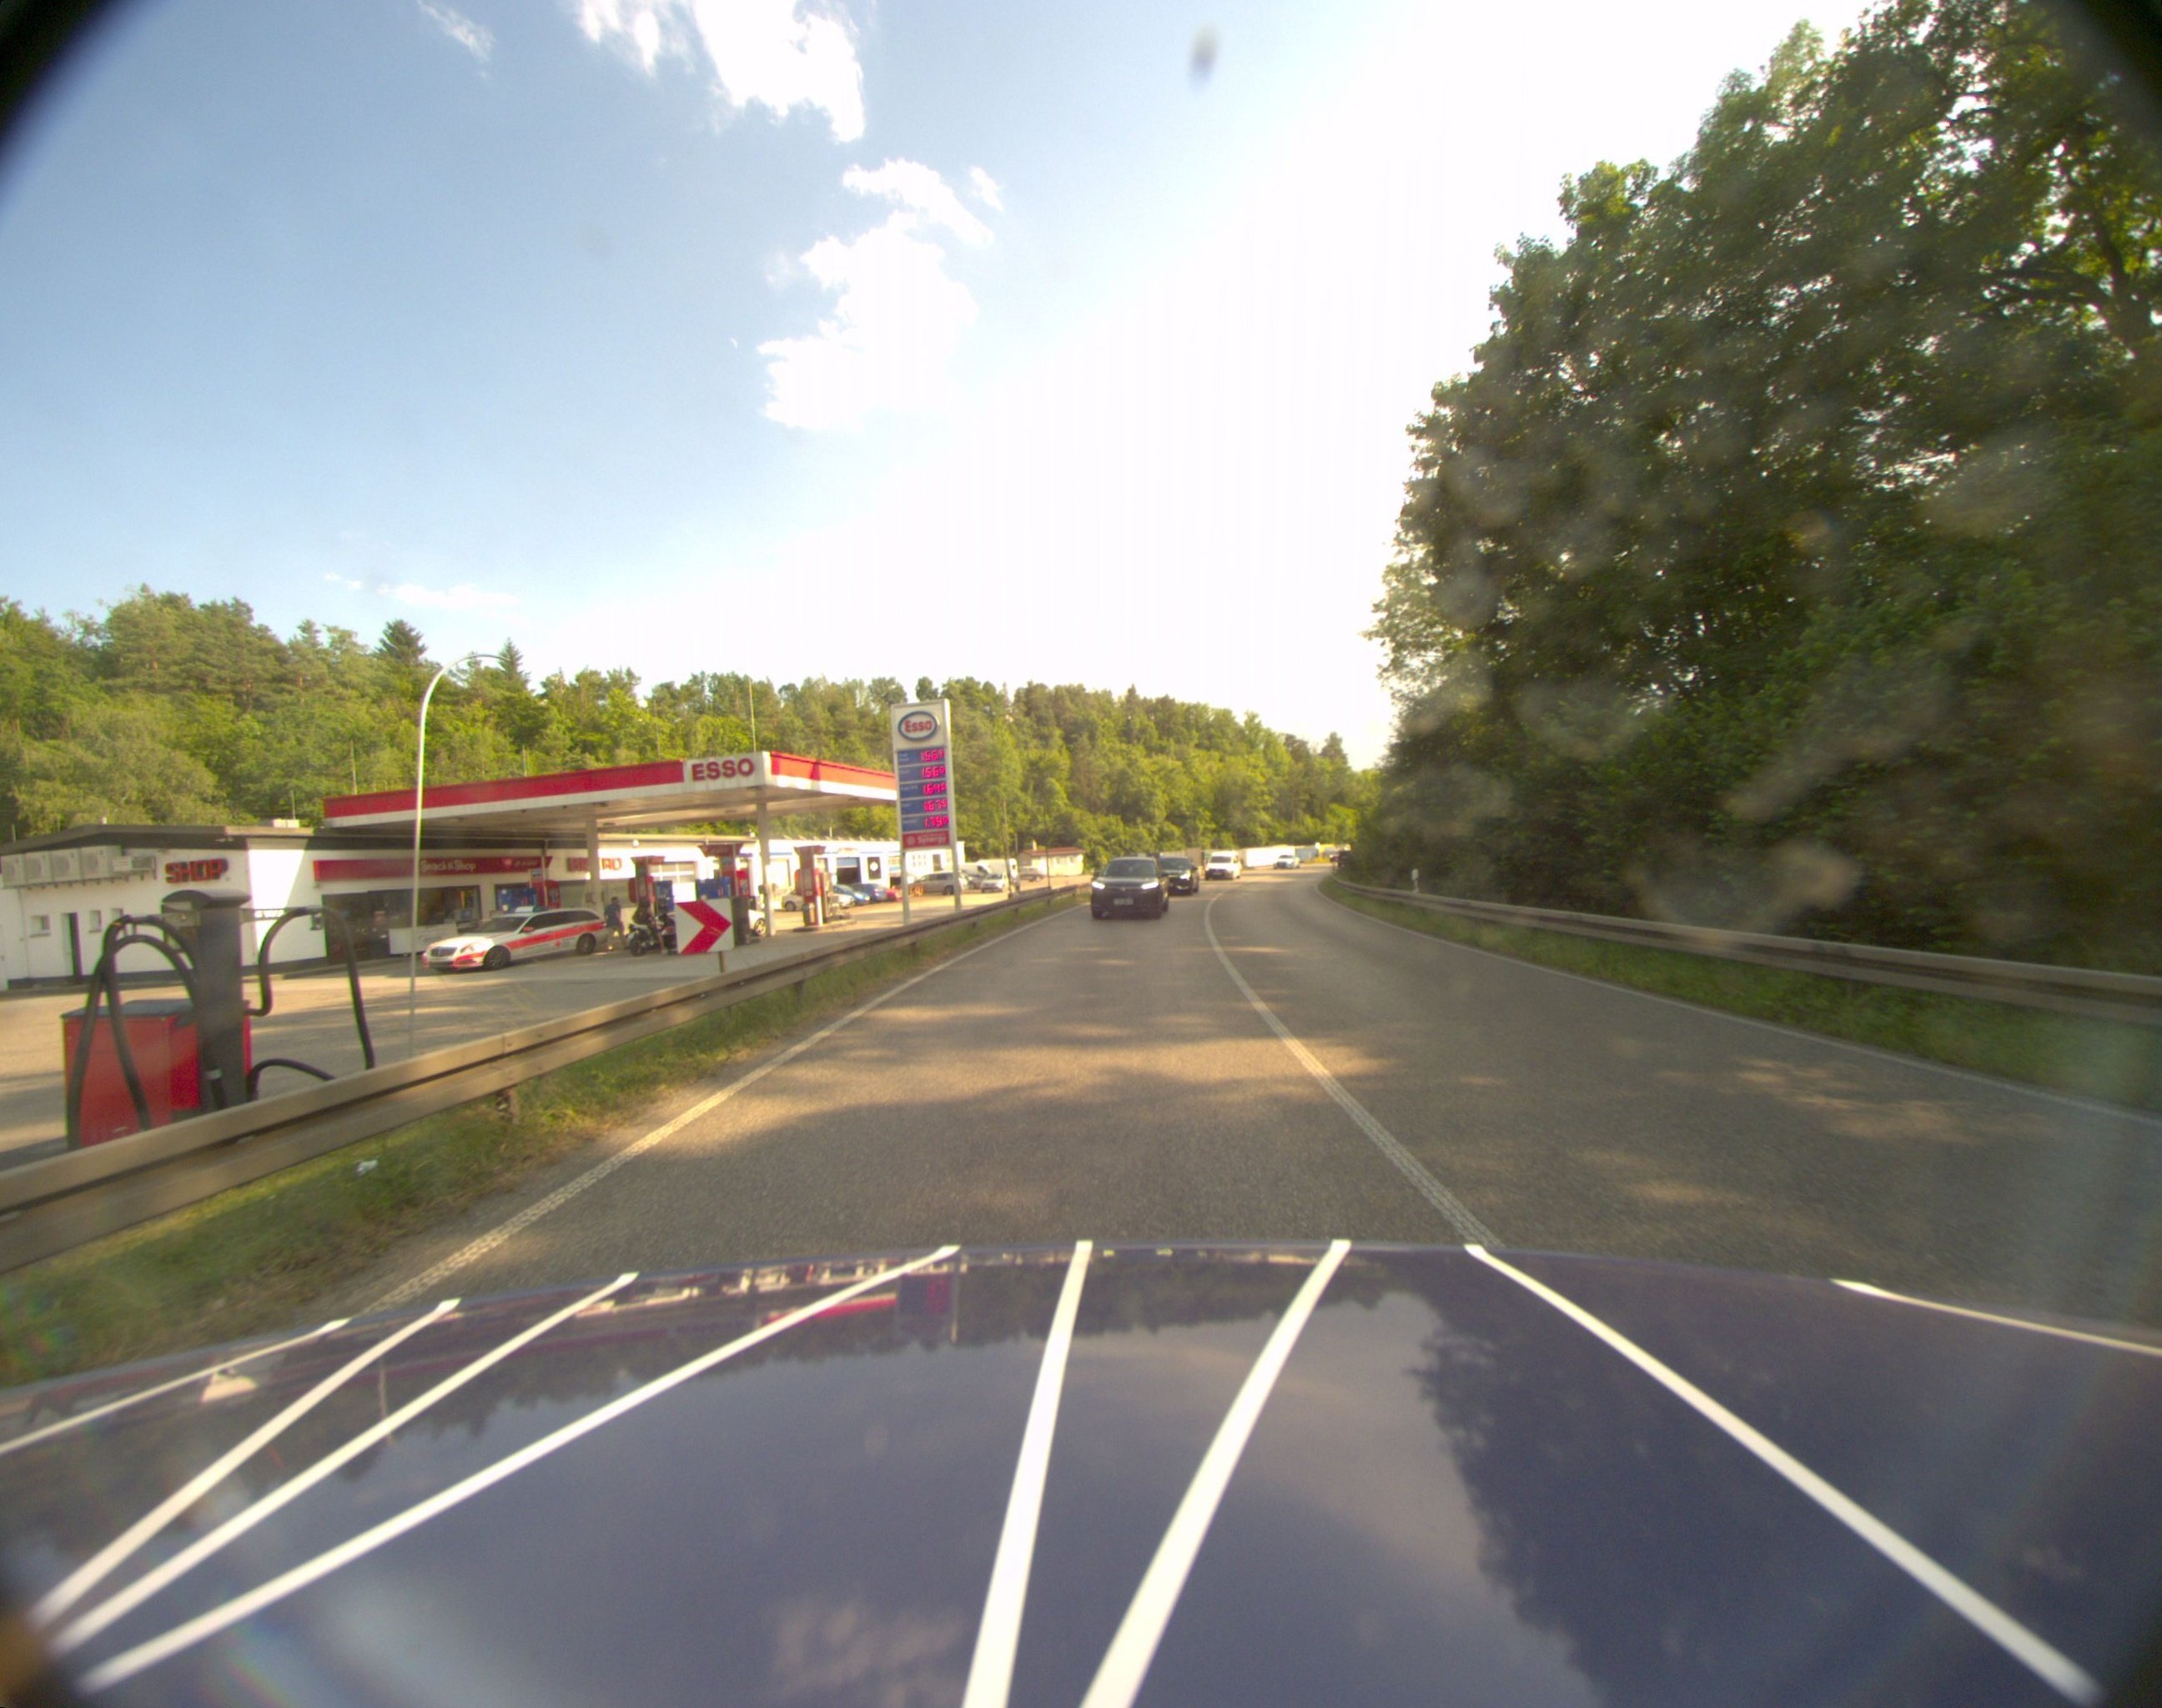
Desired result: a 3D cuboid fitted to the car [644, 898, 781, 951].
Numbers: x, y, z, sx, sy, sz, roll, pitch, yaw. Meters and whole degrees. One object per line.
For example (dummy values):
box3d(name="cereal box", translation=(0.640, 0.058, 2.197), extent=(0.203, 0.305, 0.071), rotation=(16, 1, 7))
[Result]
box3d(name="car", translation=(-12.522, 2.361, 26.174), extent=(1.845, 1.311, 4.393), rotation=(-3, 0, 12))

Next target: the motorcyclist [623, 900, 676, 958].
box3d(name="motorcyclist", translation=(-12.708, 2.203, 22.385), extent=(0.859, 1.595, 0.928), rotation=(-3, 0, 12))

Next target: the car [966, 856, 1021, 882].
box3d(name="car", translation=(-8.771, 1.460, 76.316), extent=(4.916, 2.435, 2.209), rotation=(-2, 1, 10))

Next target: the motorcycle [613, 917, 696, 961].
box3d(name="motorcycle", translation=(-12.634, 2.505, 22.621), extent=(0.763, 1.006, 2.343), rotation=(-3, 0, 12))

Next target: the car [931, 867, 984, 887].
box3d(name="car", translation=(-11.057, 2.012, 68.028), extent=(4.247, 1.601, 1.896), rotation=(-2, 0, 12))

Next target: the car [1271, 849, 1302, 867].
box3d(name="car", translation=(19.553, 0.382, 72.146), extent=(1.893, 1.437, 4.483), rotation=(-4, 0, 27))

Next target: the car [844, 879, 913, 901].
box3d(name="car", translation=(-13.816, 2.453, 51.917), extent=(4.073, 1.340, 1.896), rotation=(-2, 0, 12))

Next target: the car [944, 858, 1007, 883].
box3d(name="car", translation=(-10.066, 1.582, 72.689), extent=(5.482, 2.261, 2.297), rotation=(-2, 1, 12))

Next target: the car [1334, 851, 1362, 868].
box3d(name="car", translation=(26.507, 0.509, 75.397), extent=(1.869, 1.643, 4.558), rotation=(0, 0, 29))

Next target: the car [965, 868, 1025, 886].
box3d(name="car", translation=(-7.383, 2.001, 65.249), extent=(4.727, 1.425, 1.959), rotation=(-1, 1, 10))

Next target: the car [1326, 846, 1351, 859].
box3d(name="car", translation=(31.522, -0.224, 92.826), extent=(1.856, 1.412, 4.427), rotation=(-4, 0, 31))

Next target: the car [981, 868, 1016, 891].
box3d(name="car", translation=(-6.502, 1.980, 60.178), extent=(1.793, 1.587, 3.991), rotation=(-1, 0, 8))

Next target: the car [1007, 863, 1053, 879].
box3d(name="car", translation=(-5.403, 1.784, 80.390), extent=(4.411, 1.659, 1.939), rotation=(-1, -1, -29))

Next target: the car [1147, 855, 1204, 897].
box3d(name="car", translation=(4.109, 0.890, 32.508), extent=(1.846, 1.561, 4.261), rotation=(-1, 1, 14))

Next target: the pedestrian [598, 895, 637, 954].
box3d(name="pedestrian", translation=(-14.584, 2.217, 23.925), extent=(0.703, 1.766, 0.620), rotation=(-4, 0, 16))

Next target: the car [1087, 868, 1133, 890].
box3d(name="car", translation=(2.044, 1.708, 52.964), extent=(1.826, 1.344, 4.278), rotation=(-2, 0, 22))

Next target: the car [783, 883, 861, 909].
box3d(name="car", translation=(-15.360, 2.511, 45.161), extent=(3.964, 1.347, 1.778), rotation=(-2, 0, 8))

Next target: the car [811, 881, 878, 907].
box3d(name="car", translation=(-14.843, 2.474, 47.679), extent=(3.556, 1.398, 1.692), rotation=(-3, 0, 12))

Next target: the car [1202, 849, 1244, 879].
box3d(name="car", translation=(9.254, 0.608, 49.189), extent=(1.865, 1.710, 4.770), rotation=(-1, 1, 21))

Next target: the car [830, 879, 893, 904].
box3d(name="car", translation=(-14.386, 2.454, 49.861), extent=(3.550, 1.437, 1.735), rotation=(-3, 0, 12))

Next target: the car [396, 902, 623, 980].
box3d(name="car", translation=(-16.436, 2.426, 22.331), extent=(2.096, 1.618, 5.184), rotation=(-3, 0, 11))

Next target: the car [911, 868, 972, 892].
box3d(name="car", translation=(-10.866, 2.017, 59.458), extent=(4.255, 1.719, 1.893), rotation=(-1, 1, 9))

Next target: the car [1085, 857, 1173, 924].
box3d(name="car", translation=(1.466, 0.932, 21.281), extent=(1.858, 1.630, 4.444), rotation=(-1, 0, 11))
